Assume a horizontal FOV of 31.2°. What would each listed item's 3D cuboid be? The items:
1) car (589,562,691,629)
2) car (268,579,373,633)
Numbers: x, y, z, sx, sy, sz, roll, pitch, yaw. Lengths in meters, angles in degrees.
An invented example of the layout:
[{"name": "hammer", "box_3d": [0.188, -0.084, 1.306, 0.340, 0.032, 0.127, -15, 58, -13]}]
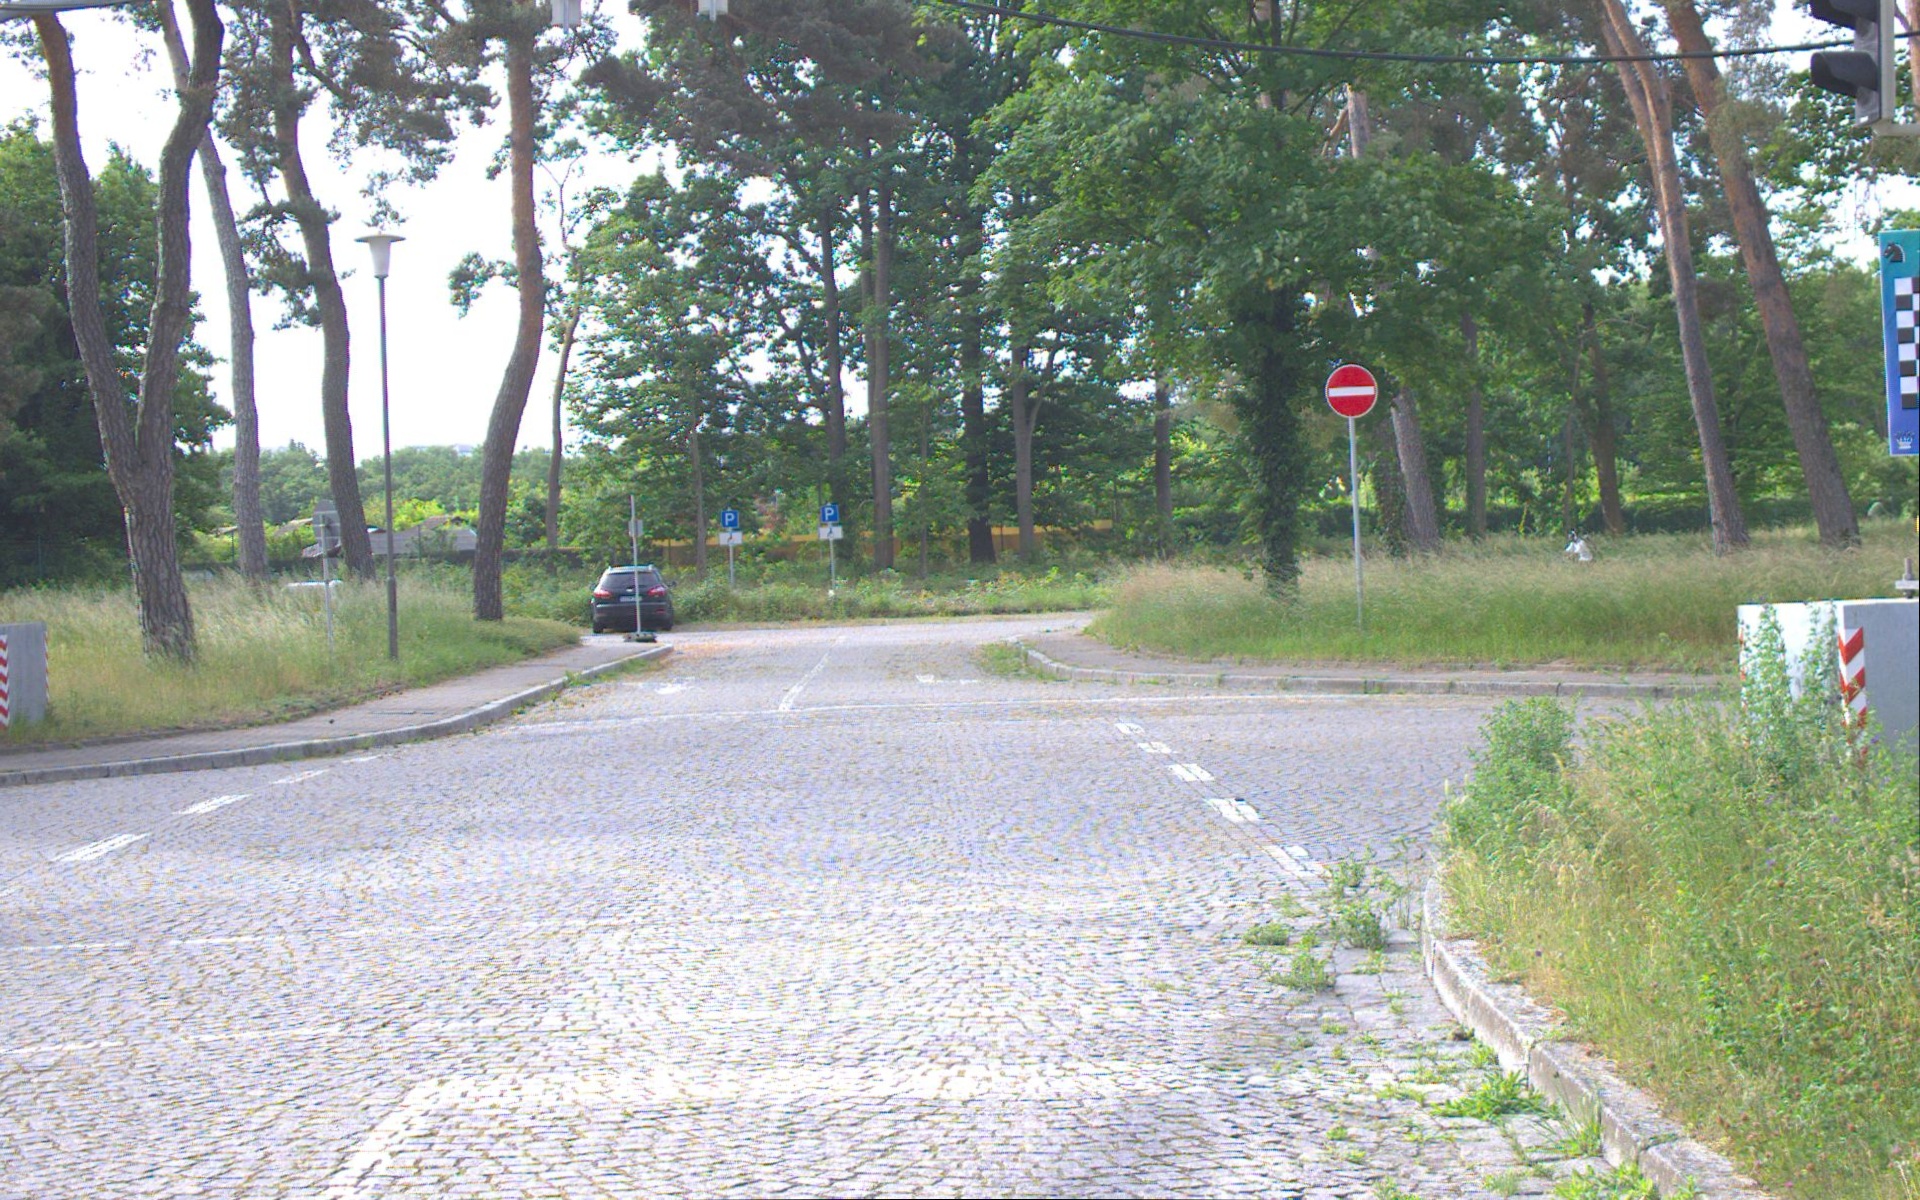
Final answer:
[{"name": "car", "box_3d": [-7.480, -0.122, 80.691, 1.993, 1.503, 4.000, 0, 1, 0]}, {"name": "car", "box_3d": [-15.144, 0.138, 81.584, 1.689, 1.152, 4.000, -2, 1, 0]}]
